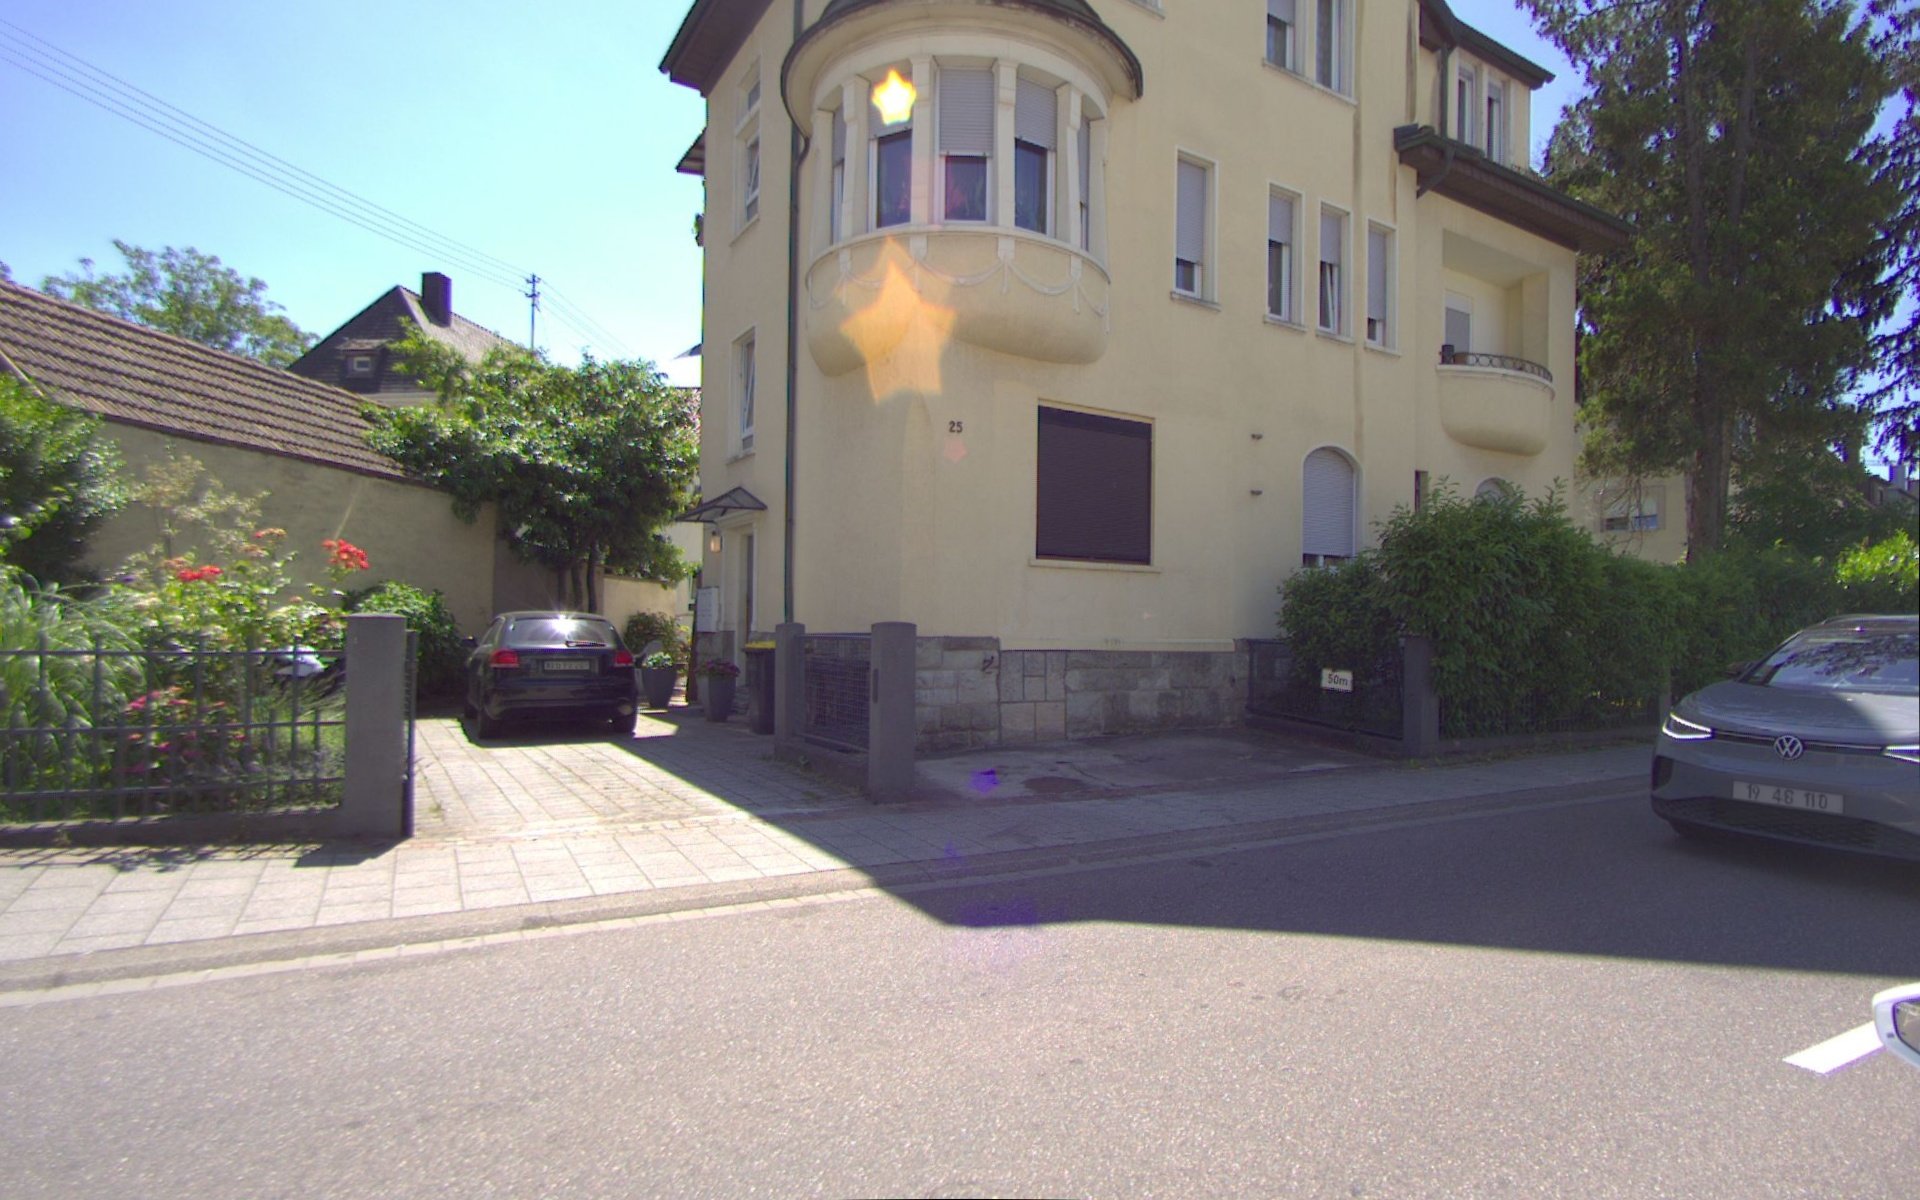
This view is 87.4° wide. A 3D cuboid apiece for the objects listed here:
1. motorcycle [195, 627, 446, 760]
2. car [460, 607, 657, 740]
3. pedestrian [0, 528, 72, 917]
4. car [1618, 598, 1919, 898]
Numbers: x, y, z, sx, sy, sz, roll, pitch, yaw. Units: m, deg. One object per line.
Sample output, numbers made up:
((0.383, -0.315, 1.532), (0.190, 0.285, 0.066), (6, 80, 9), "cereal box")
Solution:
((-6.031, 0.847, 9.493), (2.101, 1.120, 0.717), (1, -1, 13), "motorcycle")
((-5.241, 0.837, 12.799), (1.846, 1.398, 3.970), (2, -2, -29), "car")
((-4.340, 0.488, 4.210), (0.815, 1.586, 0.610), (1, 4, -32), "pedestrian")
((6.795, 0.857, 7.104), (4.245, 1.638, 1.845), (2, 0, -29), "car")
